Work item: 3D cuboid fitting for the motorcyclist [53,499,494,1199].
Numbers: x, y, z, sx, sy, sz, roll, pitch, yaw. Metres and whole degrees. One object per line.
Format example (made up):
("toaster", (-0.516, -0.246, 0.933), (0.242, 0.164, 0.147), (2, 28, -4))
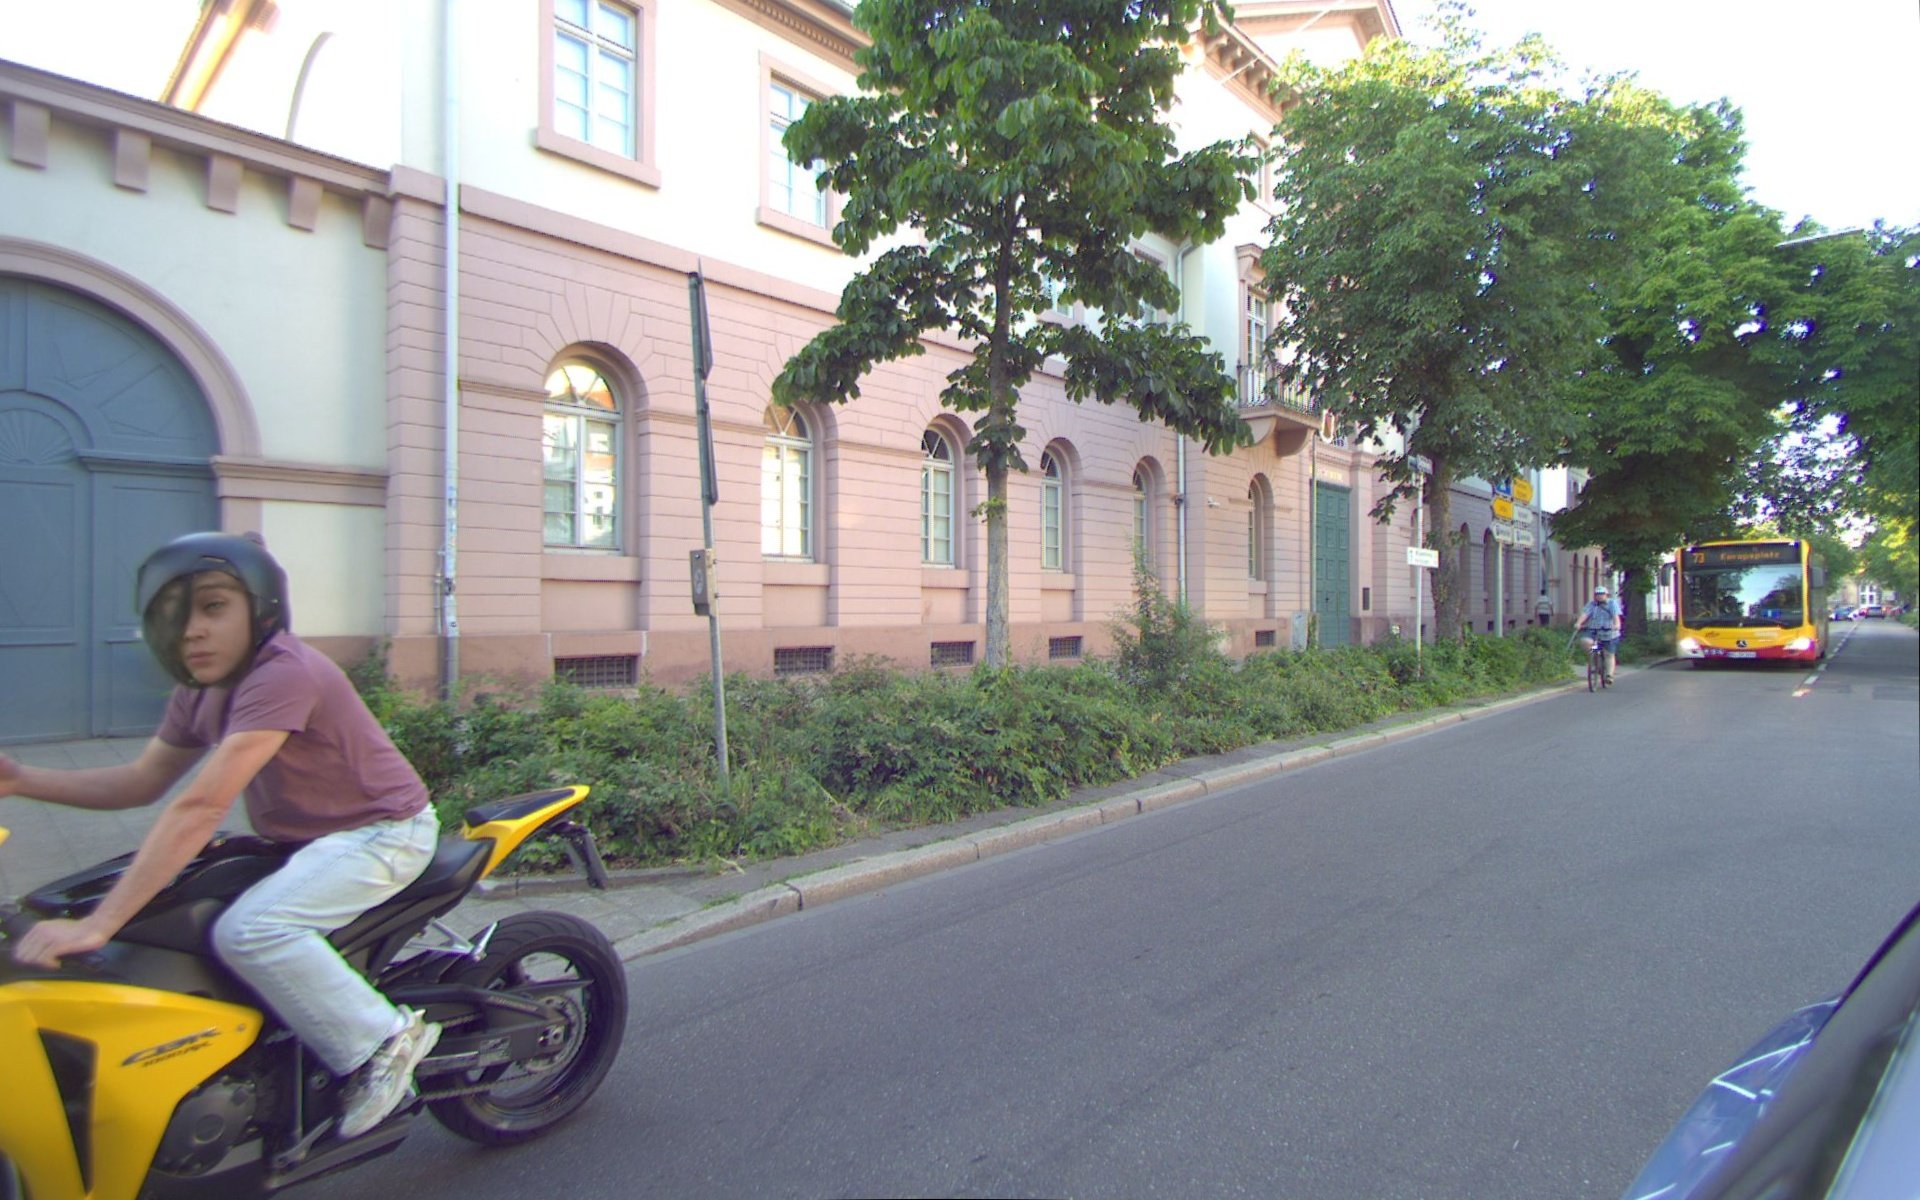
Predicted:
("motorcyclist", (-1.646, 0.536, 2.429), (0.789, 1.438, 0.689), (-2, -2, 40))

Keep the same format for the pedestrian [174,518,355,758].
("pedestrian", (-5.839, 0.282, 8.510), (0.798, 1.862, 1.066), (3, 1, 41))

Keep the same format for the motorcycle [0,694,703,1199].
("motorcycle", (-1.656, 0.897, 2.401), (0.789, 1.175, 1.938), (-2, -1, 39))

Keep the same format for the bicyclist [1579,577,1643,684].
("bicyclist", (11.693, 0.543, 18.178), (0.781, 1.863, 0.814), (-3, -3, 43))

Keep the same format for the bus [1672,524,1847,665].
("bus", (21.764, -0.082, 27.182), (2.703, 3.039, 11.894), (-3, -2, 43))

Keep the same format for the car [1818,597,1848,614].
("car", (88.667, 0.562, 102.791), (2.076, 1.719, 3.937), (0, 0, 44))

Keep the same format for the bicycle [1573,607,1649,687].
("bicycle", (11.726, 0.808, 18.199), (0.781, 1.347, 2.046), (-3, -2, 42))

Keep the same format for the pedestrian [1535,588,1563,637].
("pedestrian", (22.570, 0.477, 38.780), (0.797, 1.855, 0.916), (0, -1, 41))
